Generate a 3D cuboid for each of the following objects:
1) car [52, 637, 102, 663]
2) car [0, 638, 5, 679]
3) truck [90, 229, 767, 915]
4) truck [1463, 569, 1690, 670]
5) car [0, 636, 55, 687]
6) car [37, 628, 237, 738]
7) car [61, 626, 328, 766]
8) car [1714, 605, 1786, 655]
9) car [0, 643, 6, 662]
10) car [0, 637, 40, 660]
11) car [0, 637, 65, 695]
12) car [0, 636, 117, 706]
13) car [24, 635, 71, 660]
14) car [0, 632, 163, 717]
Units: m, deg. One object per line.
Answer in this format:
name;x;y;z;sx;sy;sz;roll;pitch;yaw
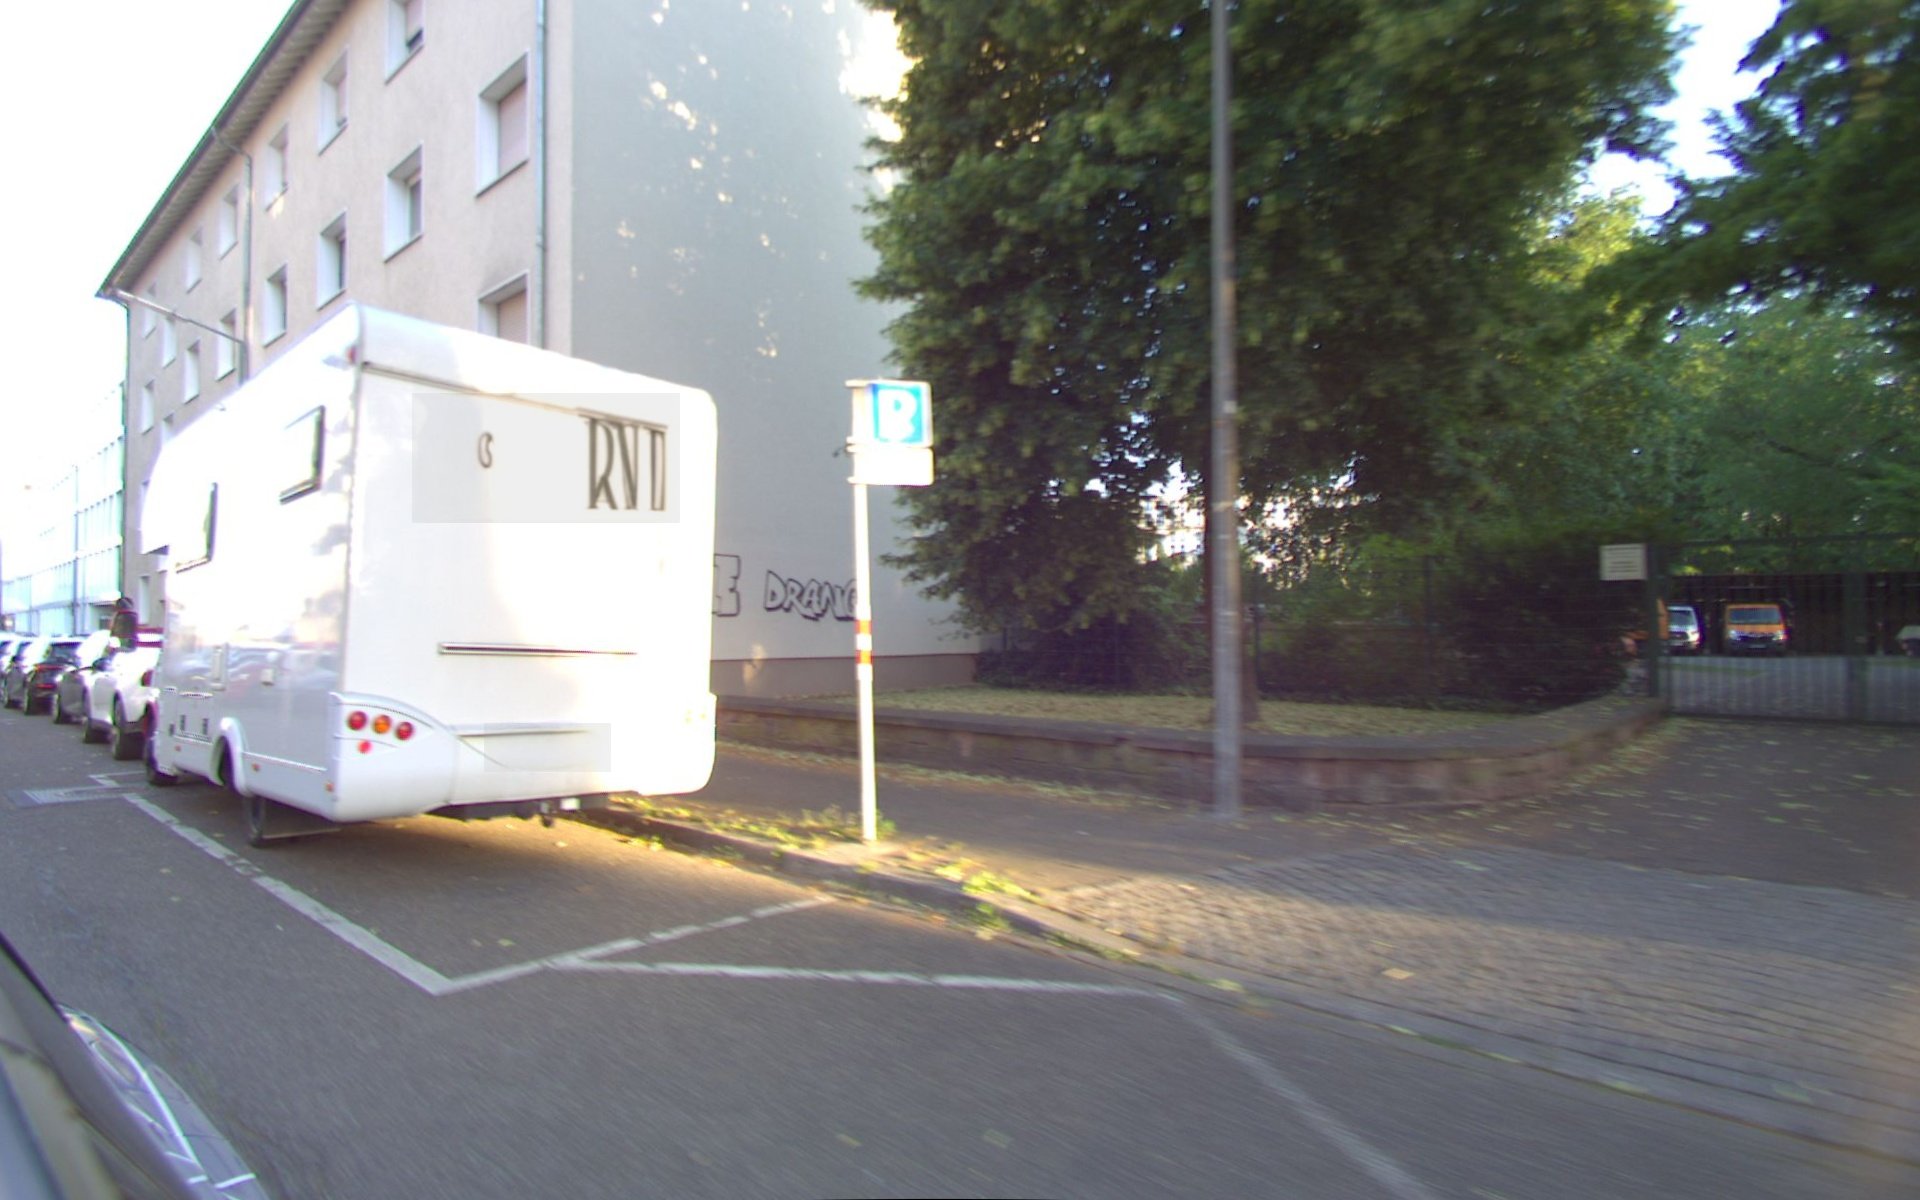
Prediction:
car;-52.948;2.962;60.661;1.971;1.497;4.002;1;-3;-45
car;-37.626;2.206;38.117;4.429;1.501;1.973;-2;-2;41
truck;-5.113;0.012;8.638;8.018;3.379;2.497;-2;-5;43
truck;18.056;0.582;29.820;5.497;2.725;2.222;-2;0;35
car;-29.538;1.870;31.137;4.429;1.455;1.973;-2;-2;41
car;-13.367;1.276;16.367;4.065;1.545;1.771;-2;-4;41
car;-10.081;1.158;13.171;4.909;1.488;1.886;-2;-5;43
car;33.723;1.284;43.298;1.994;2.029;3.955;-2;-2;33
car;-77.225;4.133;78.997;2.001;1.497;3.942;-2;-3;44
car;-65.319;3.317;70.200;1.971;1.530;4.002;1;-3;-45
car;-25.904;1.757;27.517;4.429;1.455;1.769;-2;-2;41
car;-21.178;1.578;23.405;4.430;1.455;1.972;-2;-2;42
car;-57.837;3.011;64.137;1.971;1.497;4.002;1;-3;-45
car;-17.416;1.393;19.863;4.429;1.455;1.973;-2;-2;41
